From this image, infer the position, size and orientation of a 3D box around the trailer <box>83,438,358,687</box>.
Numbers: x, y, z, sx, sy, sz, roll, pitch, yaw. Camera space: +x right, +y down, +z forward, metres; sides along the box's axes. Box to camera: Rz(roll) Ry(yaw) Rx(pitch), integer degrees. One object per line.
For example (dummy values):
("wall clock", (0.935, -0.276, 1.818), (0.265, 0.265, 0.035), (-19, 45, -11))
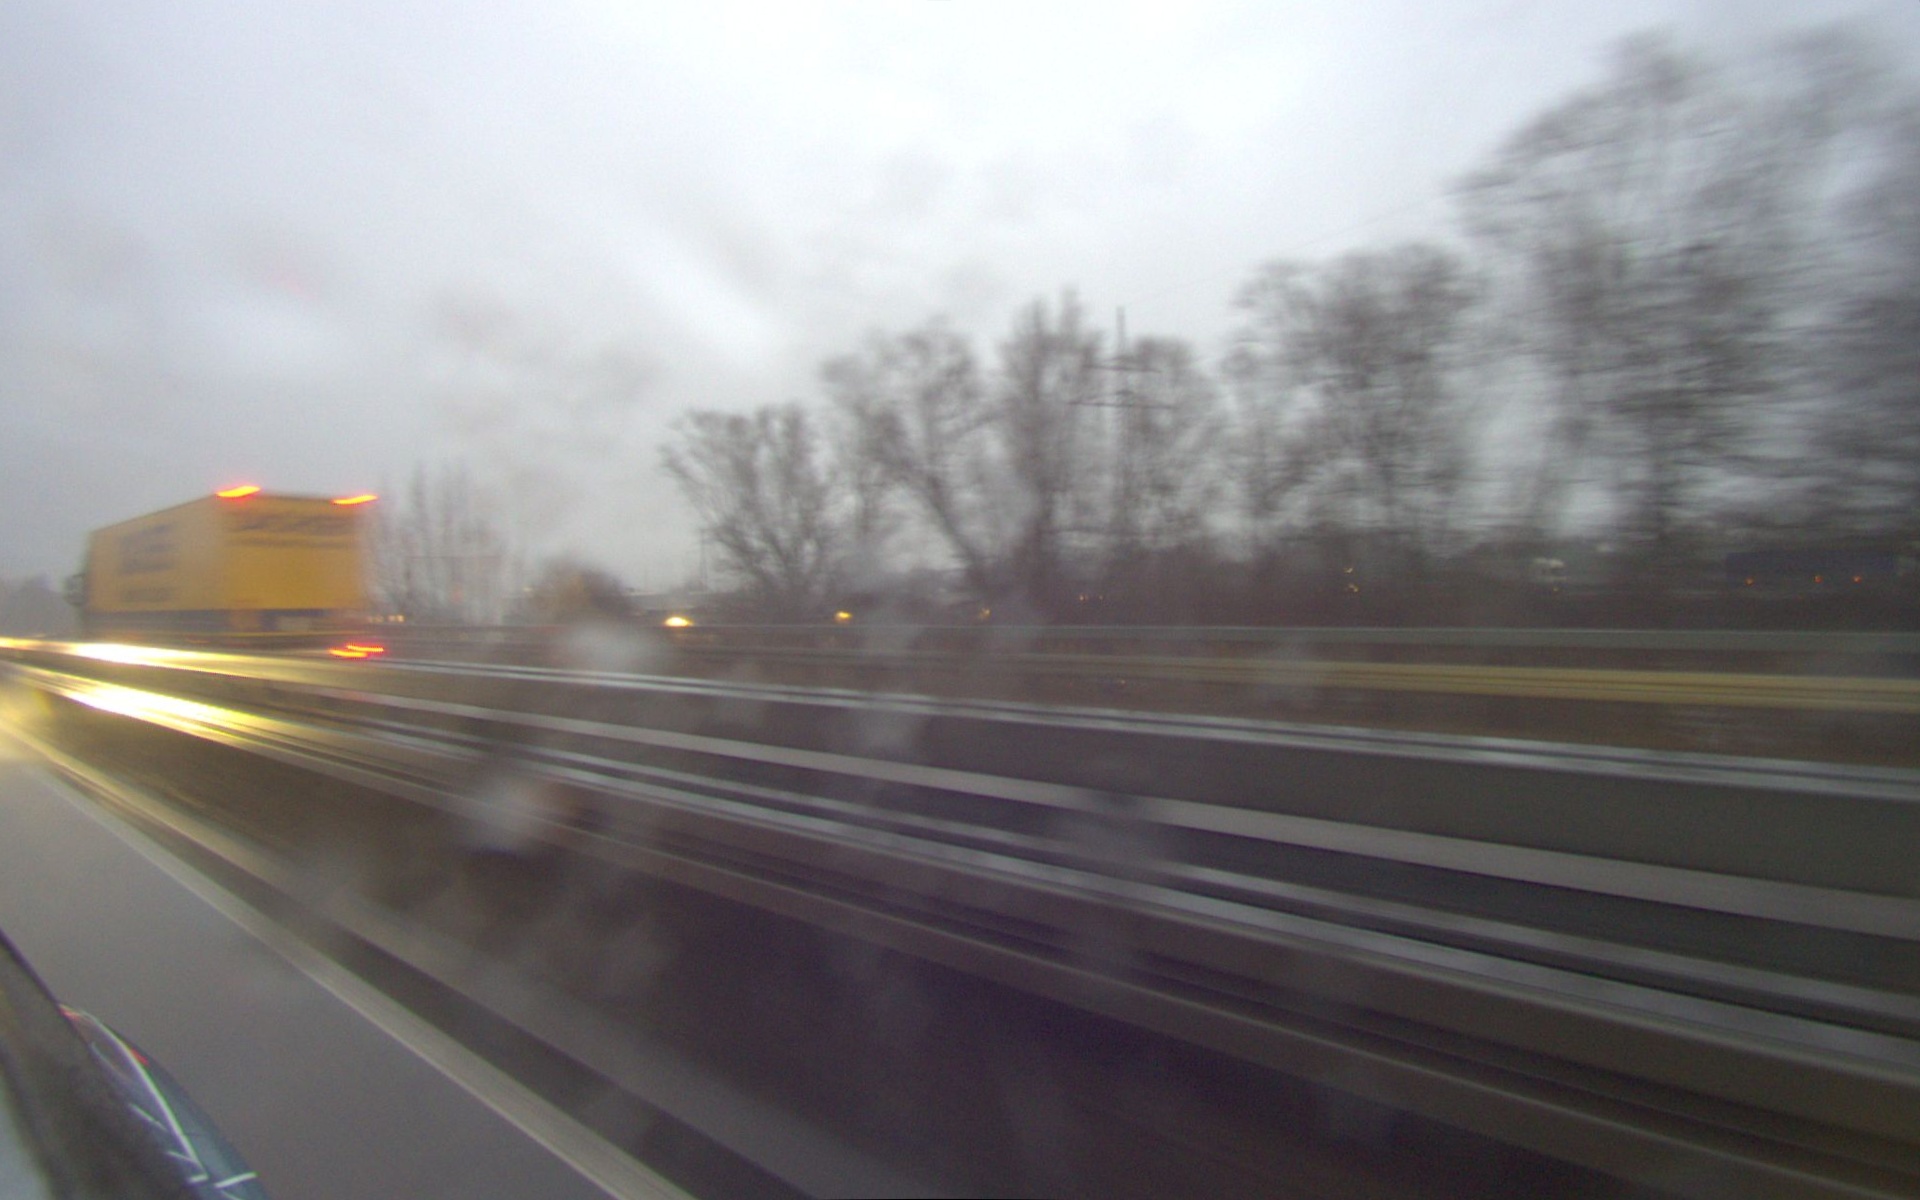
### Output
("trailer", (-18.128, -0.658, 24.169), (13.321, 4.619, 2.600), (-1, 0, 42))

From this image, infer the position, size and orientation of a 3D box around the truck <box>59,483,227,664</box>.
("truck", (-23.323, -0.622, 28.778), (6.354, 4.615, 2.568), (-1, -2, 41))

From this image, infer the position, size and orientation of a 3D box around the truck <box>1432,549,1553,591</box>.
("truck", (63.351, -3.693, 121.106), (3.229, 4.644, 13.923), (-2, 3, -23))
